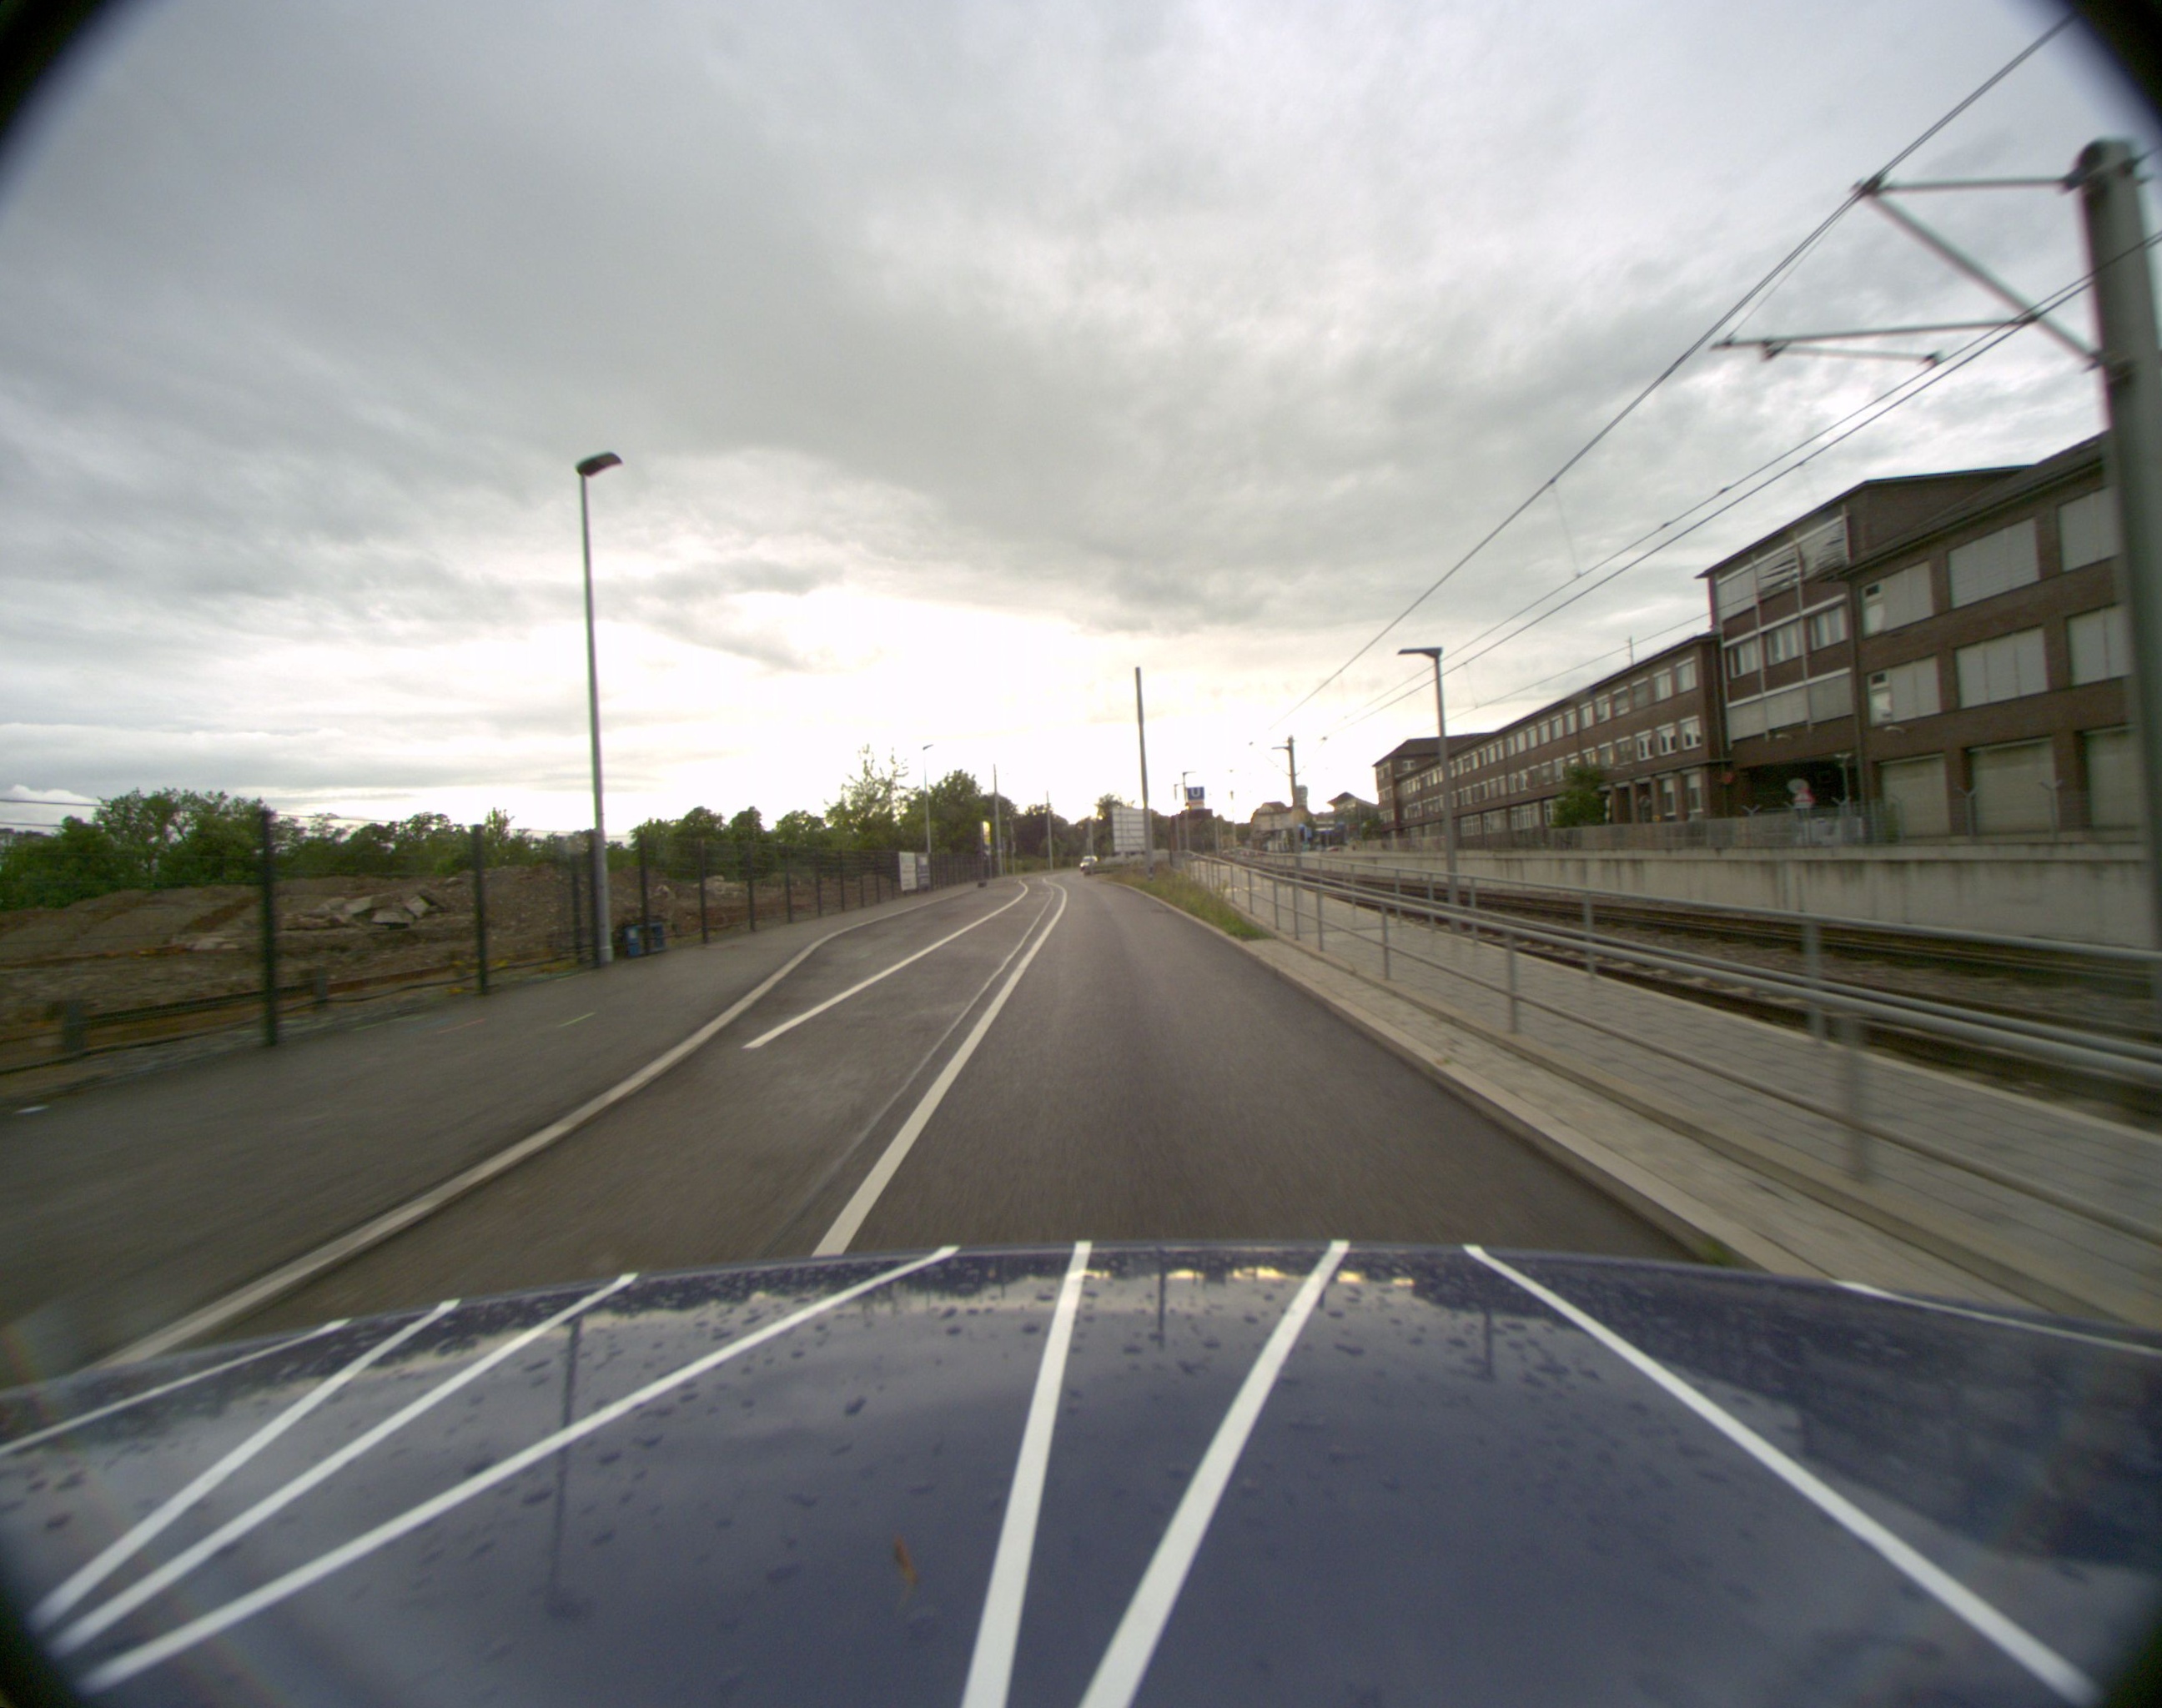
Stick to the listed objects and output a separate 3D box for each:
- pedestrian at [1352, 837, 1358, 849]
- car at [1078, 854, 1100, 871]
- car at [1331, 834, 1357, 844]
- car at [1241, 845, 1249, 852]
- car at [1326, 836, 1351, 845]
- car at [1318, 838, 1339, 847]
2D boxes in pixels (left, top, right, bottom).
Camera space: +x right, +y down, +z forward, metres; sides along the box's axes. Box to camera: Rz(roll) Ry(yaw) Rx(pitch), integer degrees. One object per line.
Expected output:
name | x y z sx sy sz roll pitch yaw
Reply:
pedestrian | 44.410 -1.768 123.137 0.581 2.002 0.728 -3 1 -27
car | 1.047 1.056 94.509 1.997 2.002 4.002 -1 1 11
car | 53.645 -2.979 155.087 4.573 1.750 2.001 -3 0 9
car | 51.295 -1.807 237.307 1.997 2.002 4.002 -2 0 6
car | 53.832 -2.798 158.998 4.573 1.750 2.001 -3 0 9
car | 54.944 -2.531 168.672 3.994 1.761 2.001 -3 0 10
